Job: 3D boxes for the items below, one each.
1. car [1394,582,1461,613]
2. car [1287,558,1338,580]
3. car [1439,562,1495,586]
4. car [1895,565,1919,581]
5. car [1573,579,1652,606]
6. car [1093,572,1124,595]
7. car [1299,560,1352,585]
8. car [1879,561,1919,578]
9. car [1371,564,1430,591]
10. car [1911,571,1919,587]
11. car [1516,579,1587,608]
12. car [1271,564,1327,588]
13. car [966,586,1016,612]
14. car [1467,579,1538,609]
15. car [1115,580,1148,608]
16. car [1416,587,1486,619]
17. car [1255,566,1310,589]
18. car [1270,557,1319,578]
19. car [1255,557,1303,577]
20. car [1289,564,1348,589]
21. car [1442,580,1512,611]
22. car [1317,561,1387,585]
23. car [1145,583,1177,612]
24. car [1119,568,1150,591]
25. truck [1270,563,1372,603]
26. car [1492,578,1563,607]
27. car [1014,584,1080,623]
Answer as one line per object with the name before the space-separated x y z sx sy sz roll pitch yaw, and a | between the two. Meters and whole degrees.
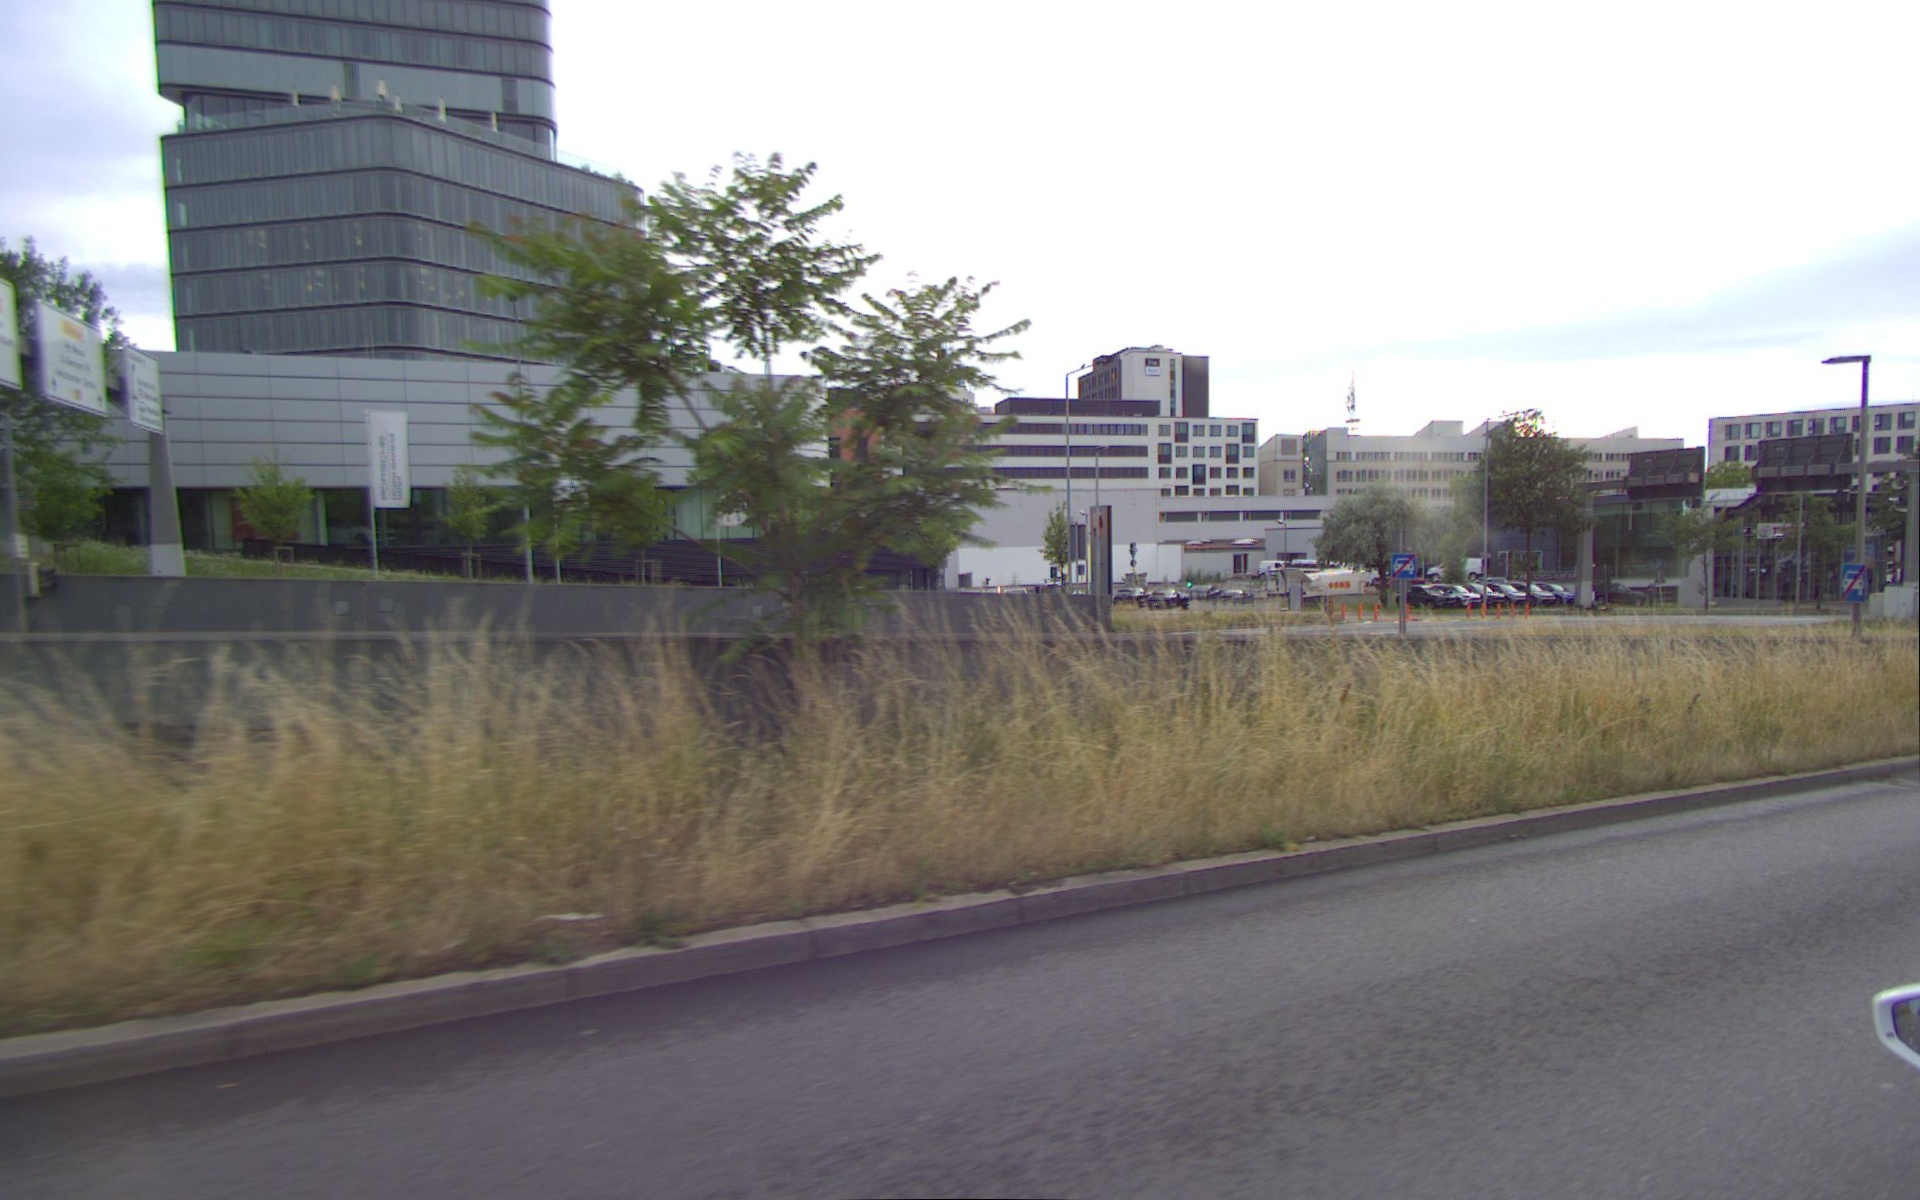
car | 30.928 -0.204 66.571 1.673 1.622 3.993 -3 6 -20
car | 31.474 -2.795 89.729 3.935 1.707 1.916 -2 6 -17
car | 43.072 -2.225 85.369 3.938 1.807 1.914 4 7 39
car | 112.091 -3.161 117.112 1.796 1.674 3.974 -3 6 -24
car | 47.068 -0.578 72.528 4.415 1.707 1.921 -1 5 -3
car | 13.216 -1.478 89.209 1.960 1.729 3.998 1 6 19
car | 31.687 -2.375 87.083 3.934 1.908 1.992 -2 6 -16
car | 106.940 -3.481 113.584 1.972 1.674 3.976 -3 6 -23
car | 35.007 -1.829 79.808 3.934 1.908 1.901 -2 6 -16
car | 105.069 -2.171 107.661 1.972 1.674 3.976 -3 6 -23
car | 41.648 -0.503 70.792 1.894 1.707 3.979 -3 6 -20
car | 27.485 -1.980 81.502 3.935 1.707 1.916 -2 6 -17
car | 2.480 -0.120 80.783 1.980 1.707 3.958 -4 7 -36
car | 37.258 -0.450 69.119 1.894 1.707 3.979 -3 6 -20
car | 13.906 -0.511 81.309 1.960 1.908 3.998 1 6 19
car | 32.897 0.185 67.407 1.894 1.707 3.979 -3 6 -20
car | 26.835 -1.879 83.584 3.935 1.707 1.916 -2 6 -17
car | 30.865 -3.027 92.725 3.935 1.707 1.916 -2 6 -17
car | 30.133 -3.128 94.941 3.935 1.707 1.916 -2 6 -17
car | 28.055 -1.845 78.672 3.935 1.707 1.916 -2 6 -17
car | 35.052 -0.331 68.213 1.894 1.707 3.979 -3 6 -20
car | 33.176 -2.277 85.035 5.445 1.907 1.992 0 5 -16
car | 16.009 -0.205 79.801 1.960 1.908 3.998 1 6 19
car | 15.182 -1.794 87.218 1.960 1.729 3.998 1 6 19
truck | 26.904 -1.293 74.856 7.297 2.563 2.362 -3 6 -20
car | 39.486 -0.553 69.965 1.894 1.707 3.979 -3 6 -20
car | 6.630 0.218 76.938 2.504 2.524 5.108 -4 6 -31
